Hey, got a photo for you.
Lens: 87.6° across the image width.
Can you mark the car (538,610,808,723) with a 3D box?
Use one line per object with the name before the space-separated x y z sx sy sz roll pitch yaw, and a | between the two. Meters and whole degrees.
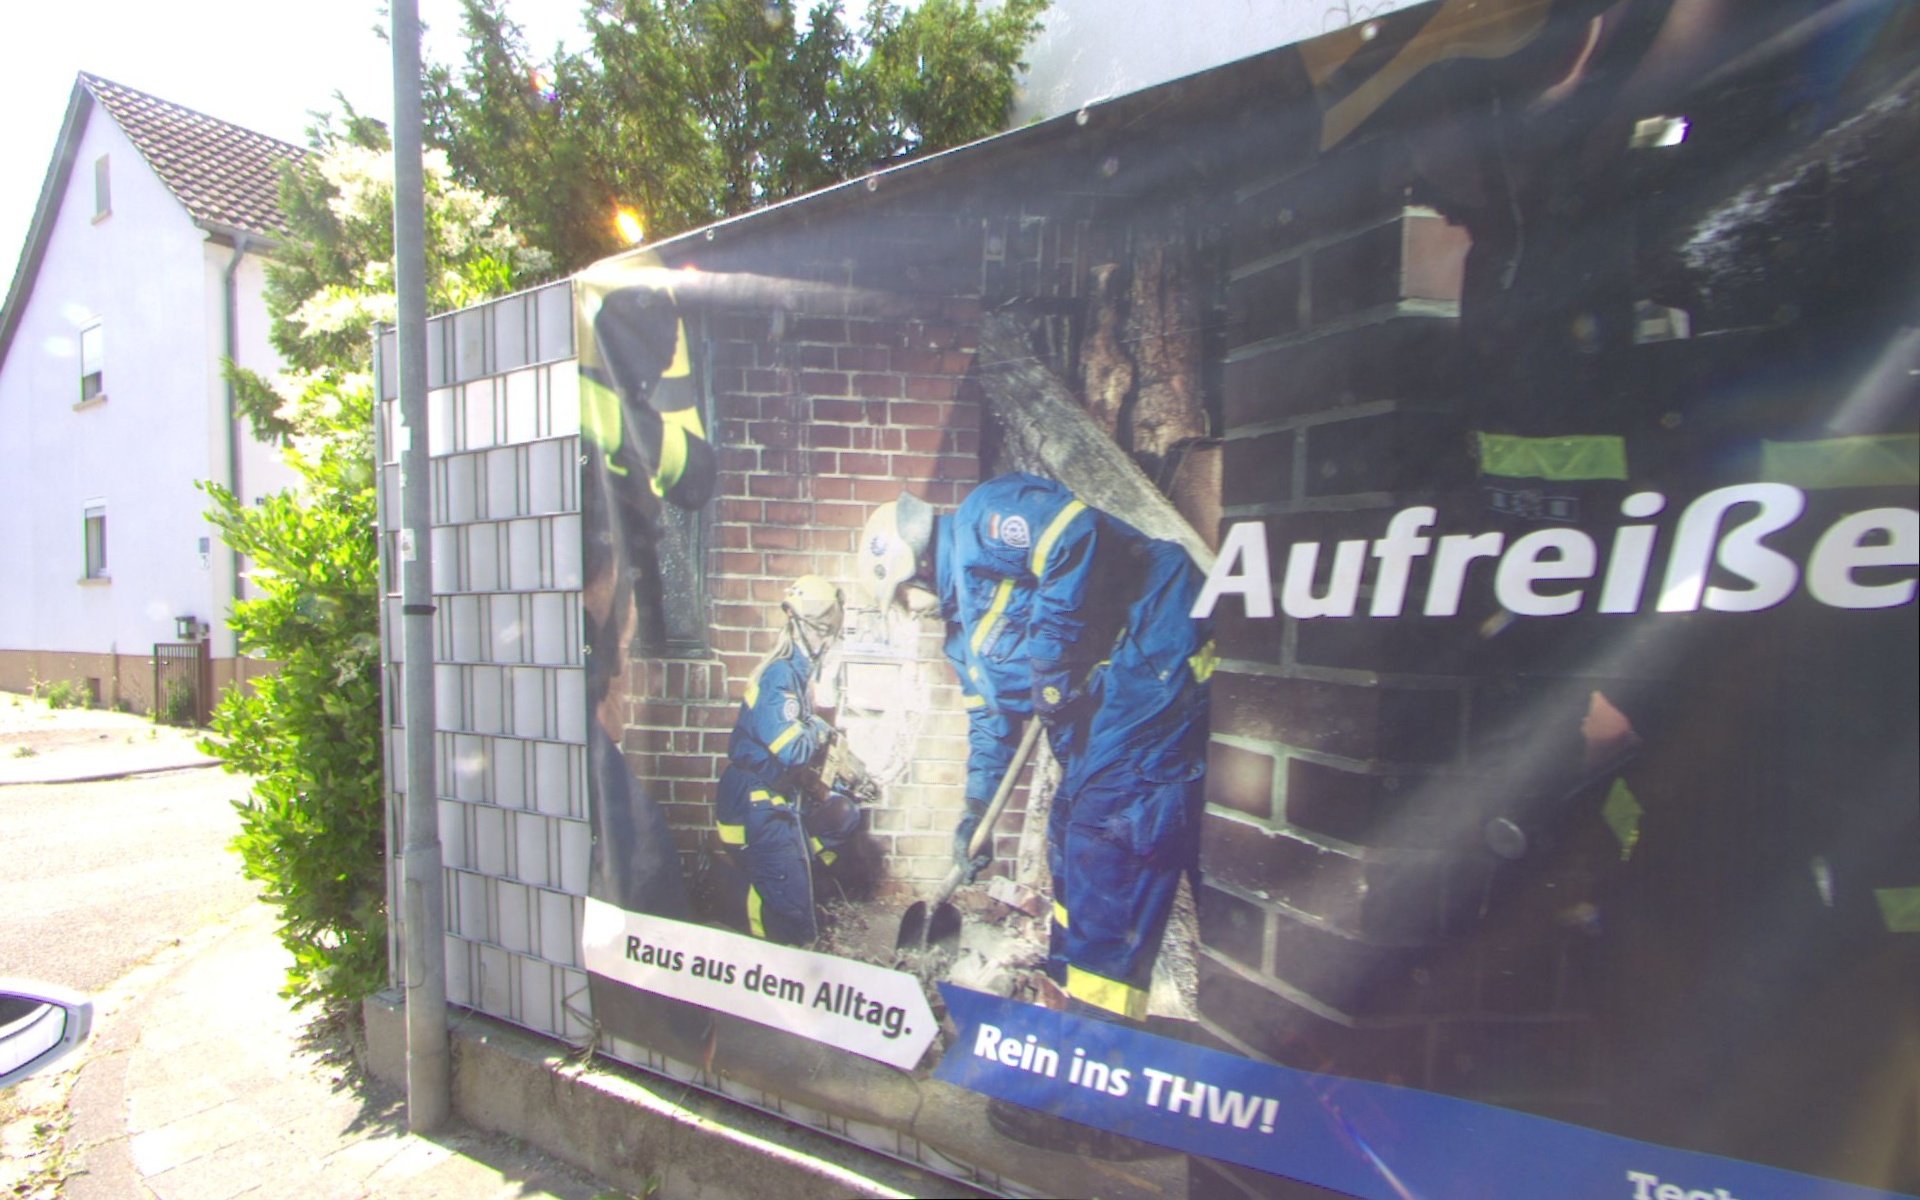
car | -4.394 0.932 15.891 1.771 1.550 3.978 0 -1 32
